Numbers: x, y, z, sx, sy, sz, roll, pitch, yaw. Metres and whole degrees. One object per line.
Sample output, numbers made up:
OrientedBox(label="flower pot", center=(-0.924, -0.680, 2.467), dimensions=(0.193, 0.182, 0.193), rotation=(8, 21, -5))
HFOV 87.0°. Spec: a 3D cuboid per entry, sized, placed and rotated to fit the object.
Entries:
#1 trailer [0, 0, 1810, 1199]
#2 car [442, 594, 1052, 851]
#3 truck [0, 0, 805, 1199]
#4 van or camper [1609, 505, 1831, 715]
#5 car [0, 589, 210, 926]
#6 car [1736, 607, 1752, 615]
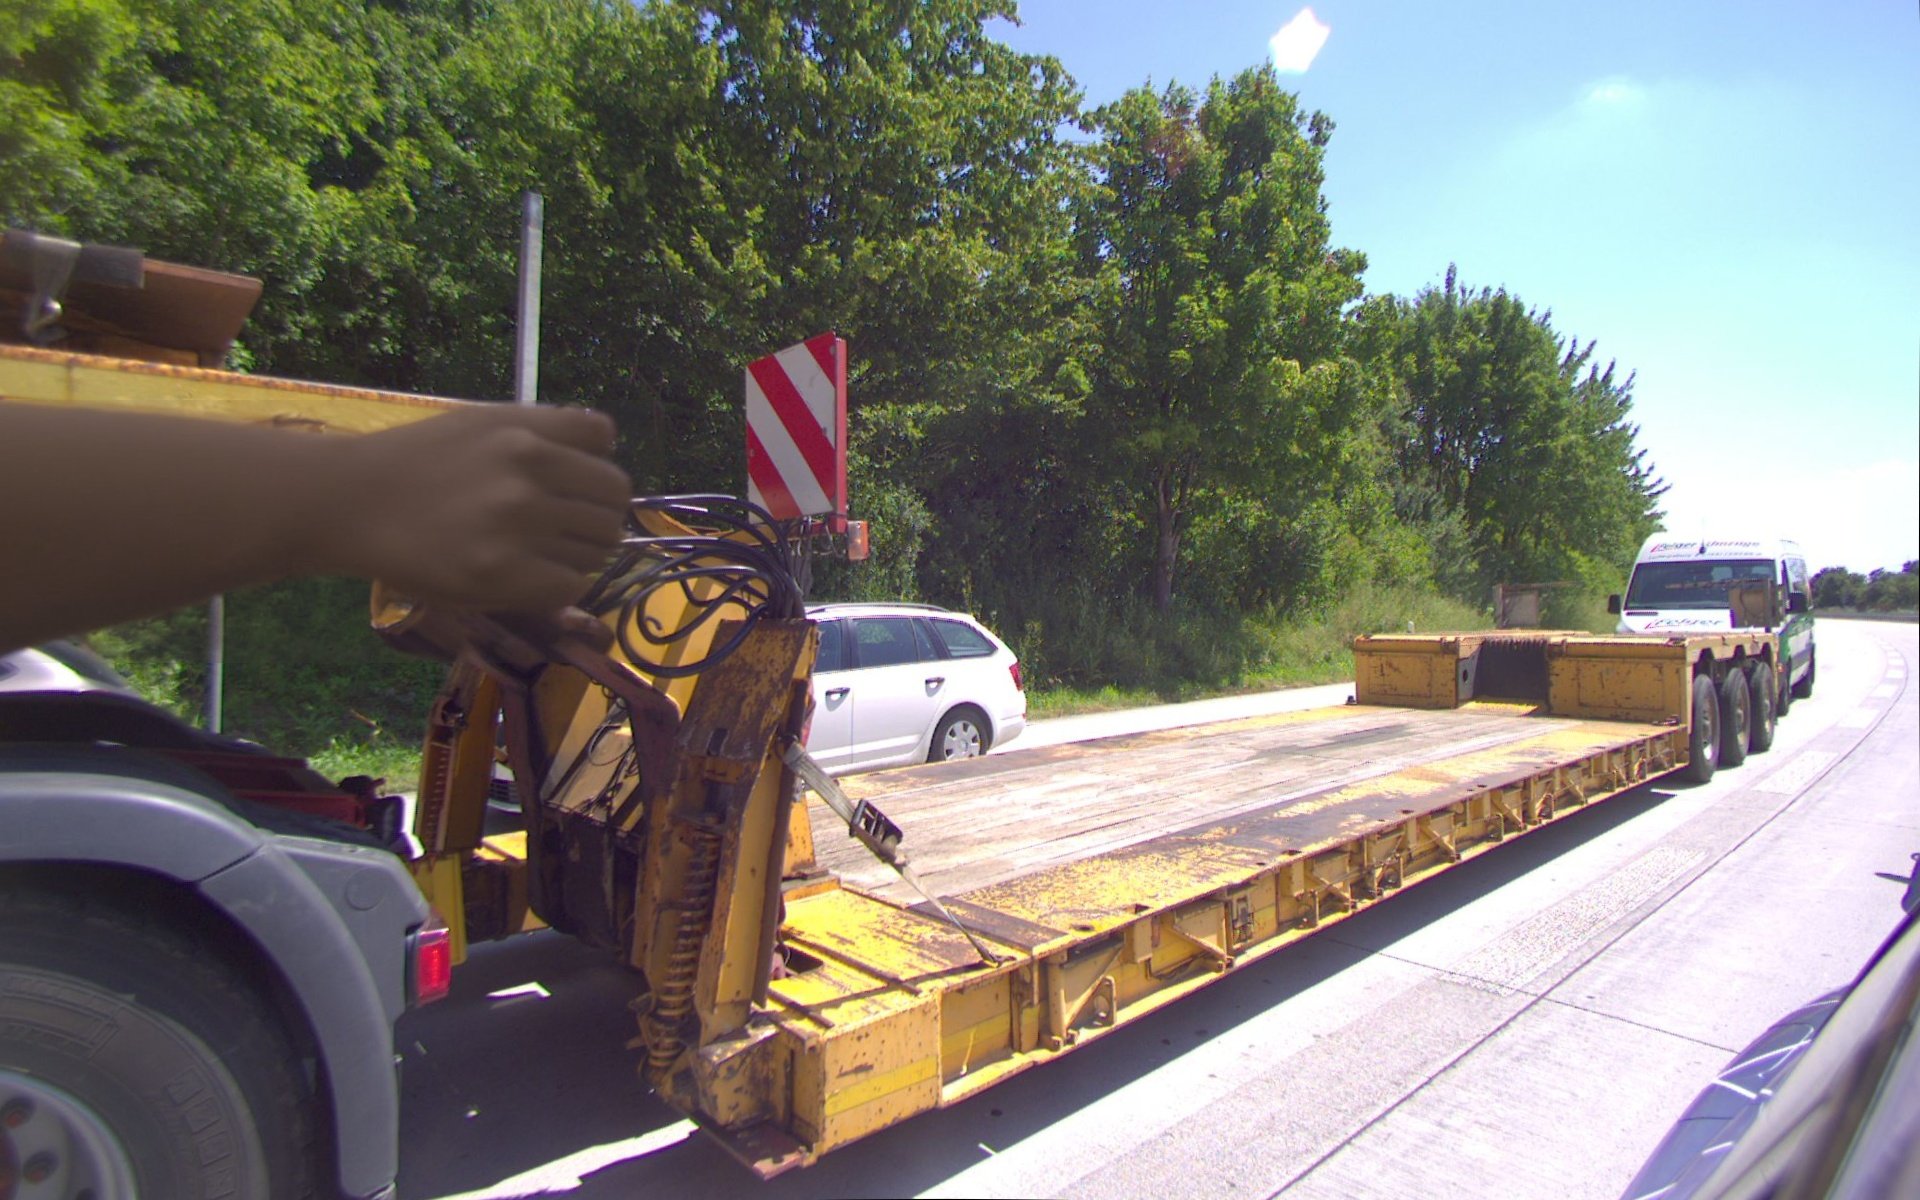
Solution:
OrientedBox(label="trailer", center=(1.837, 0.106, 6.201), dimensions=(16.076, 2.626, 3.031), rotation=(0, 0, -42))
OrientedBox(label="car", center=(-1.427, 0.696, 8.063), dimensions=(4.521, 1.480, 1.769), rotation=(0, 0, -43))
OrientedBox(label="truck", center=(-4.049, -0.508, 0.849), dimensions=(7.342, 3.820, 3.017), rotation=(0, 0, -42))
OrientedBox(label="van or camper", center=(11.734, 0.091, 15.417), dimensions=(2.063, 2.606, 5.815), rotation=(0, 0, 43))
OrientedBox(label="car", center=(-5.843, 0.703, 4.168), dimensions=(4.290, 1.480, 1.770), rotation=(-1, 1, -42))
OrientedBox(label="car", center=(151.817, 2.144, 195.939), dimensions=(1.690, 1.483, 3.965), rotation=(0, 0, 26))
